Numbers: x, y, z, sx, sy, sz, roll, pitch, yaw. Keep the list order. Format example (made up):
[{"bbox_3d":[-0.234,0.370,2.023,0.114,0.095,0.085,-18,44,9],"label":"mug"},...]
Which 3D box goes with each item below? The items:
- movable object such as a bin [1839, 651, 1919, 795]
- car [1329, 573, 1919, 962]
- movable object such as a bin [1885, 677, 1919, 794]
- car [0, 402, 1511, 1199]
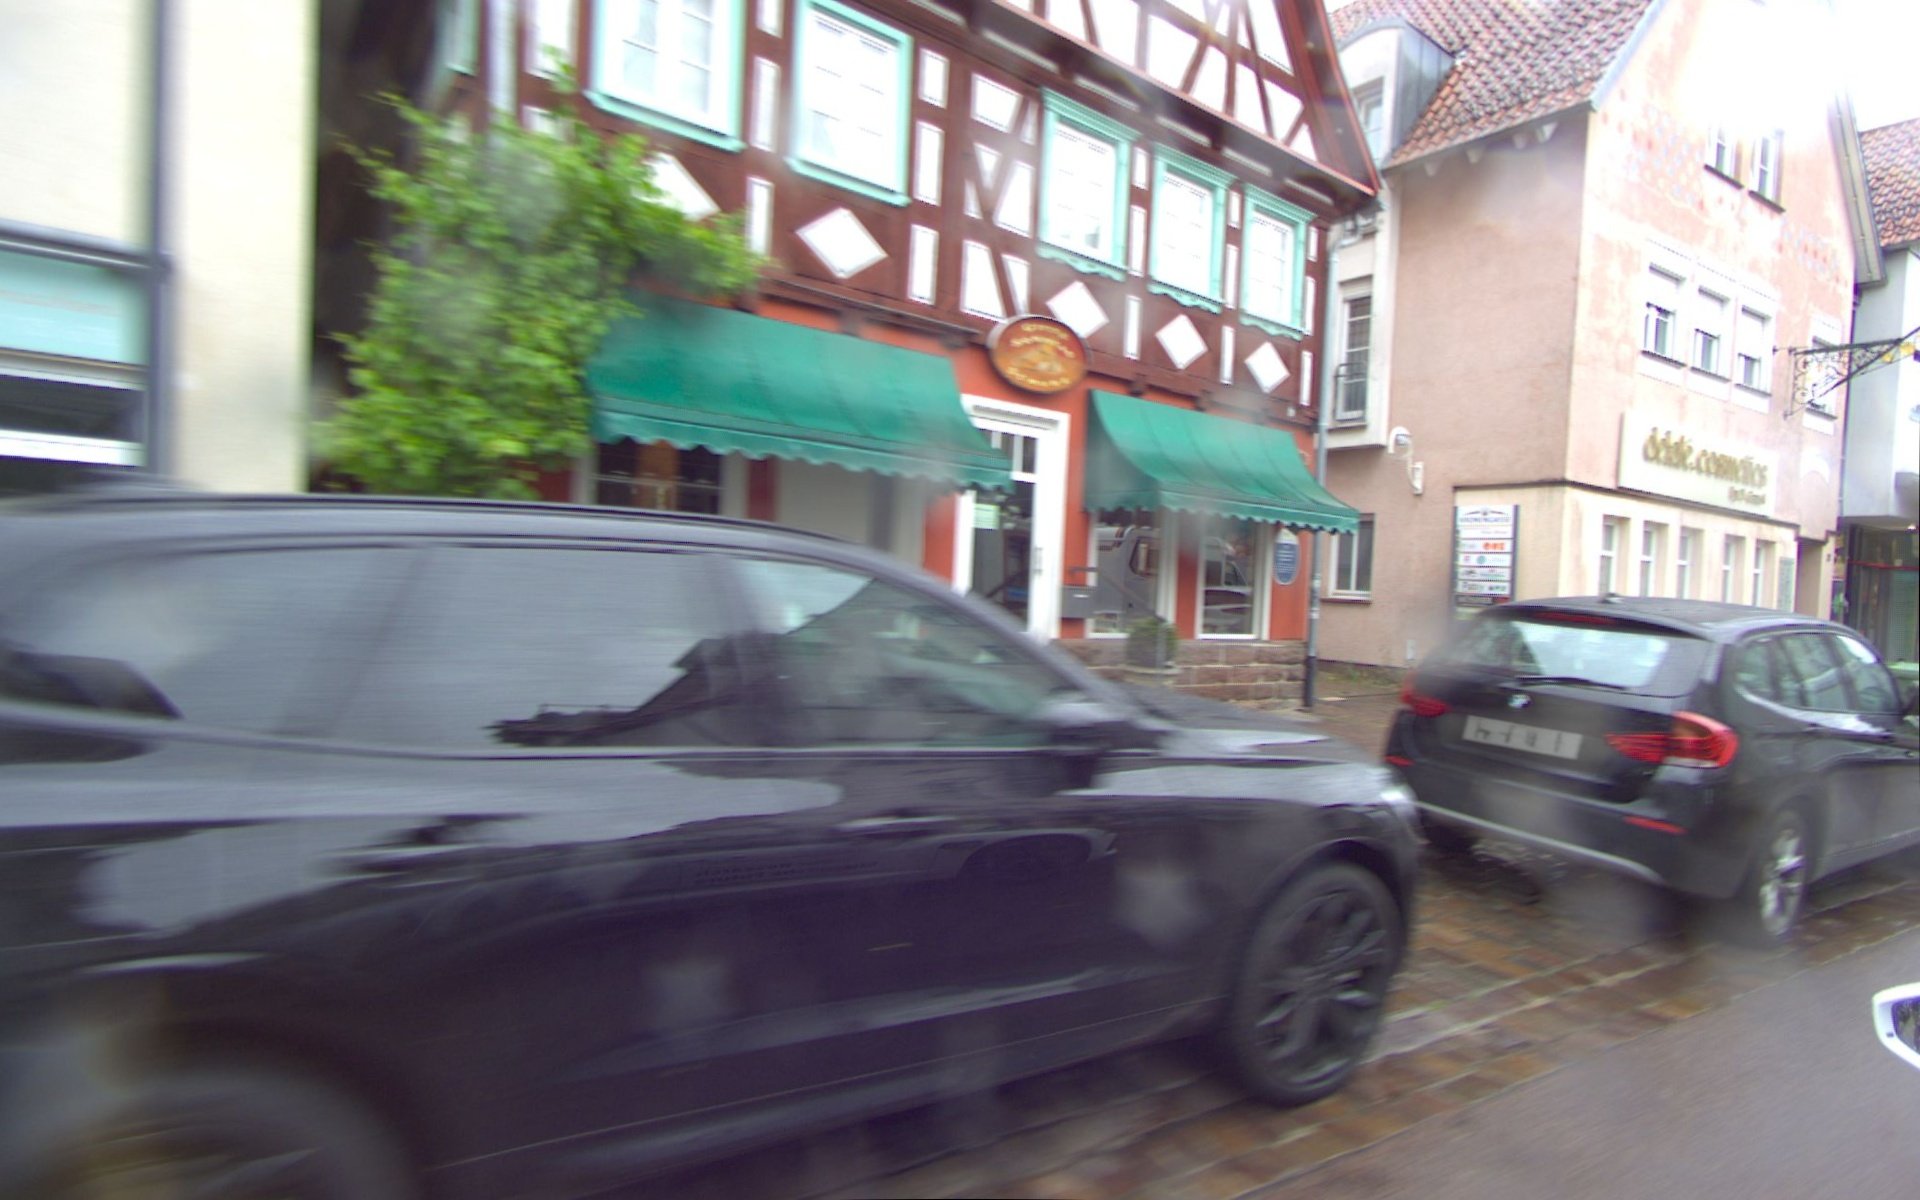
[{"bbox_3d":[7.819,0.993,8.177,0.754,1.097,0.744,2,0,-28],"label":"movable object such as a bin"},{"bbox_3d":[4.359,0.739,5.951,4.234,1.572,1.823,3,0,-32],"label":"car"},{"bbox_3d":[8.417,1.166,8.526,0.555,0.968,0.654,2,0,-28],"label":"movable object such as a bin"},{"bbox_3d":[-0.554,0.611,2.977,4.490,1.697,1.823,3,0,-32],"label":"car"}]
